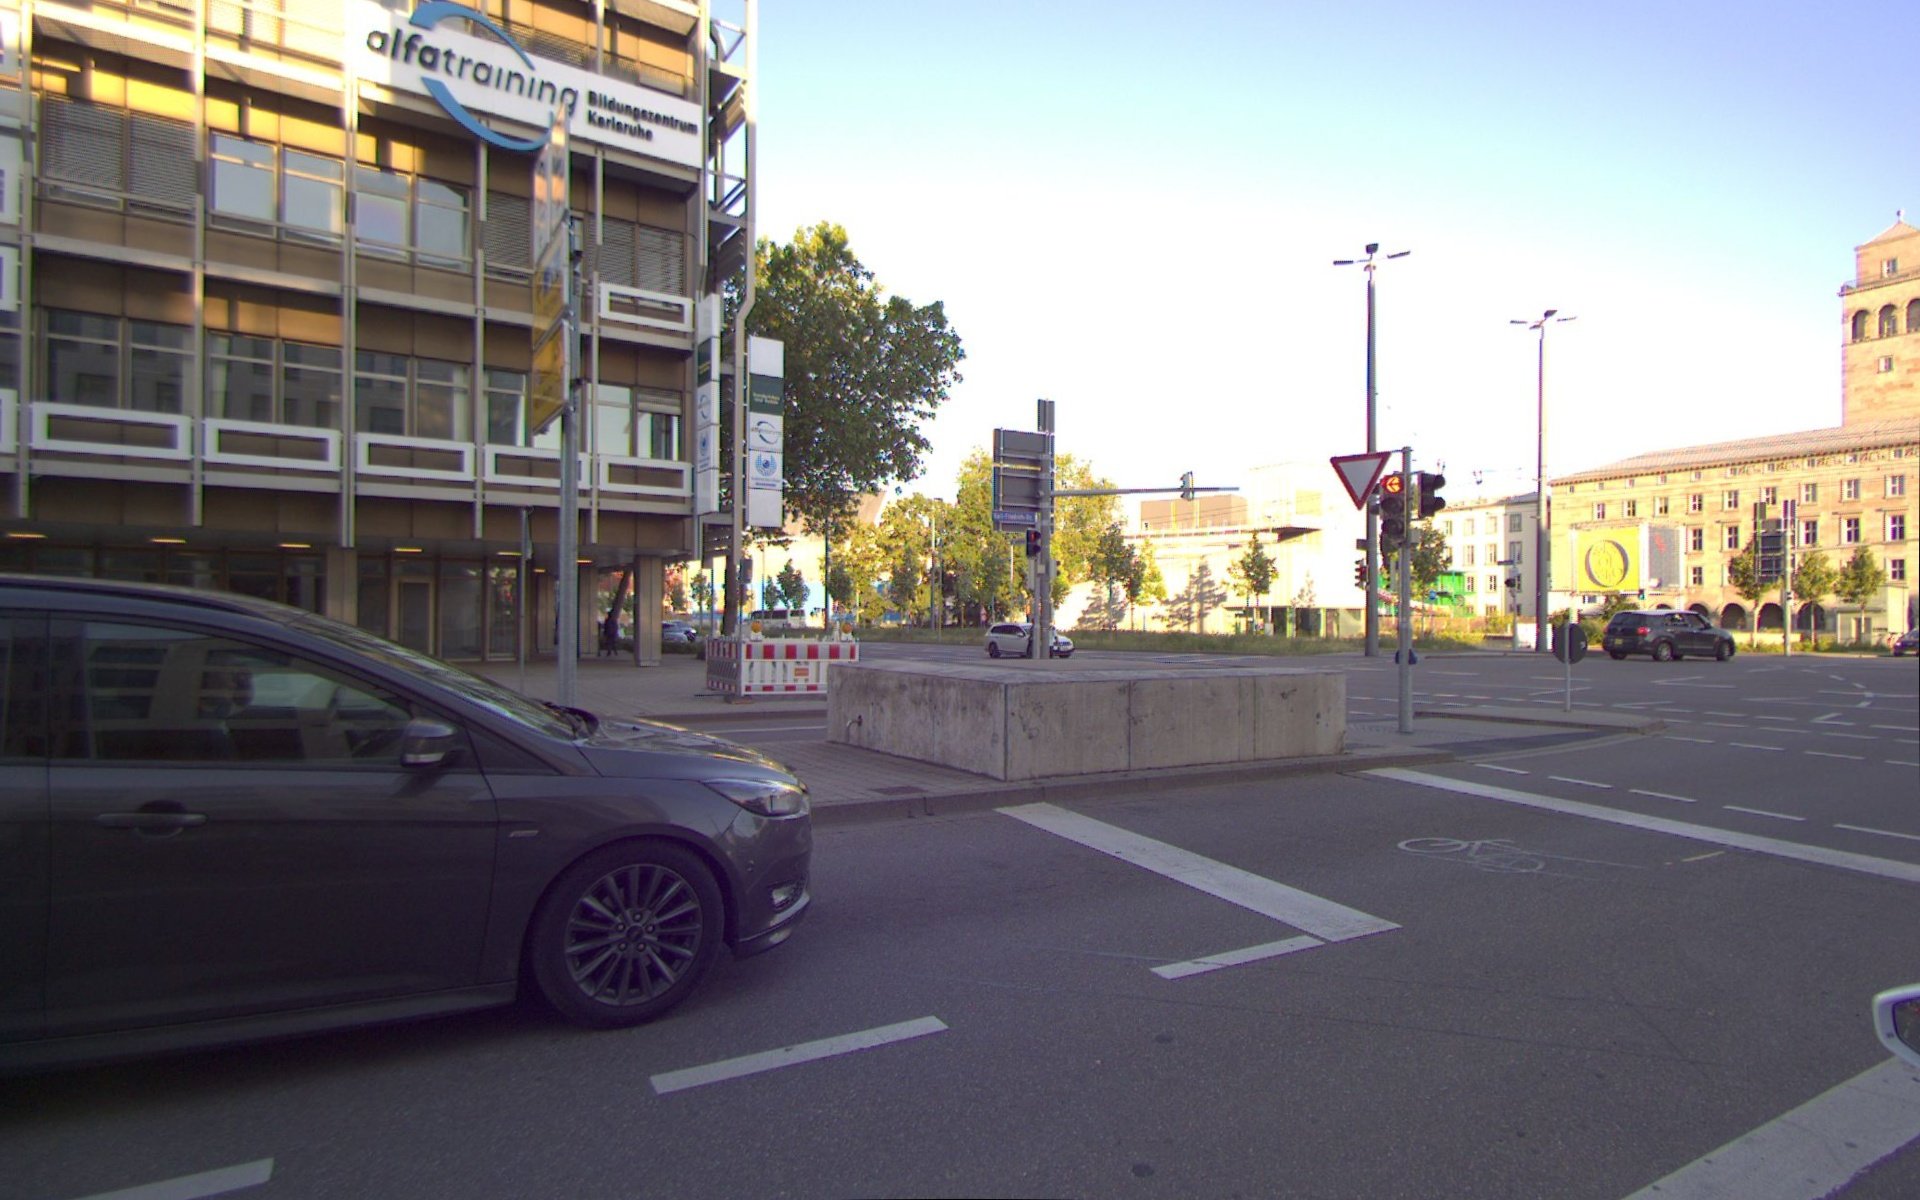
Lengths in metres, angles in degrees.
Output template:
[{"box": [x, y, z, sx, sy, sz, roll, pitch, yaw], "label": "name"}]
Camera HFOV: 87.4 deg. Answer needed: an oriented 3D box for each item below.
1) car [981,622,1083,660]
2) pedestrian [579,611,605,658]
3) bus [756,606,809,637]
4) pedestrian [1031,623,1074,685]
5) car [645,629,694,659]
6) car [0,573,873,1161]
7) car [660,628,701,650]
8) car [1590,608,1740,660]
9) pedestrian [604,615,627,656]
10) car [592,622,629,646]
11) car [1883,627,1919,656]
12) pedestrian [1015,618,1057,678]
[{"box": [2.933, 1.671, 41.962, 1.832, 1.476, 4.548, 0, -1, -34], "label": "car"}, {"box": [-14.420, 1.347, 39.382, 0.749, 1.830, 0.715, 2, 0, -35], "label": "pedestrian"}, {"box": [-23.092, 2.741, 130.142, 2.959, 3.818, 10.341, 1, -1, -34], "label": "bus"}, {"box": [2.659, 1.532, 28.850, 0.949, 1.744, 0.816, 1, -1, -34], "label": "pedestrian"}, {"box": [-17.088, 2.564, 59.037, 1.722, 1.605, 4.554, 0, -1, -30], "label": "car"}, {"box": [-2.628, 0.663, 3.411, 4.329, 1.482, 1.749, 1, 1, -31], "label": "car"}, {"box": [-20.327, 2.823, 73.031, 1.831, 1.476, 3.917, 0, -1, -33], "label": "car"}, {"box": [22.887, 1.095, 32.645, 4.064, 1.626, 1.740, 0, -1, -14], "label": "car"}, {"box": [-13.631, 1.393, 39.703, 0.660, 1.606, 0.715, 2, 0, -34], "label": "pedestrian"}, {"box": [-24.370, 2.362, 69.945, 1.722, 1.605, 3.764, 0, -1, -31], "label": "car"}, {"box": [51.211, 2.198, 53.600, 4.111, 1.485, 1.813, 0, -1, -32], "label": "car"}, {"box": [2.236, 1.408, 29.631, 0.949, 1.744, 0.816, 1, -1, -34], "label": "pedestrian"}]
